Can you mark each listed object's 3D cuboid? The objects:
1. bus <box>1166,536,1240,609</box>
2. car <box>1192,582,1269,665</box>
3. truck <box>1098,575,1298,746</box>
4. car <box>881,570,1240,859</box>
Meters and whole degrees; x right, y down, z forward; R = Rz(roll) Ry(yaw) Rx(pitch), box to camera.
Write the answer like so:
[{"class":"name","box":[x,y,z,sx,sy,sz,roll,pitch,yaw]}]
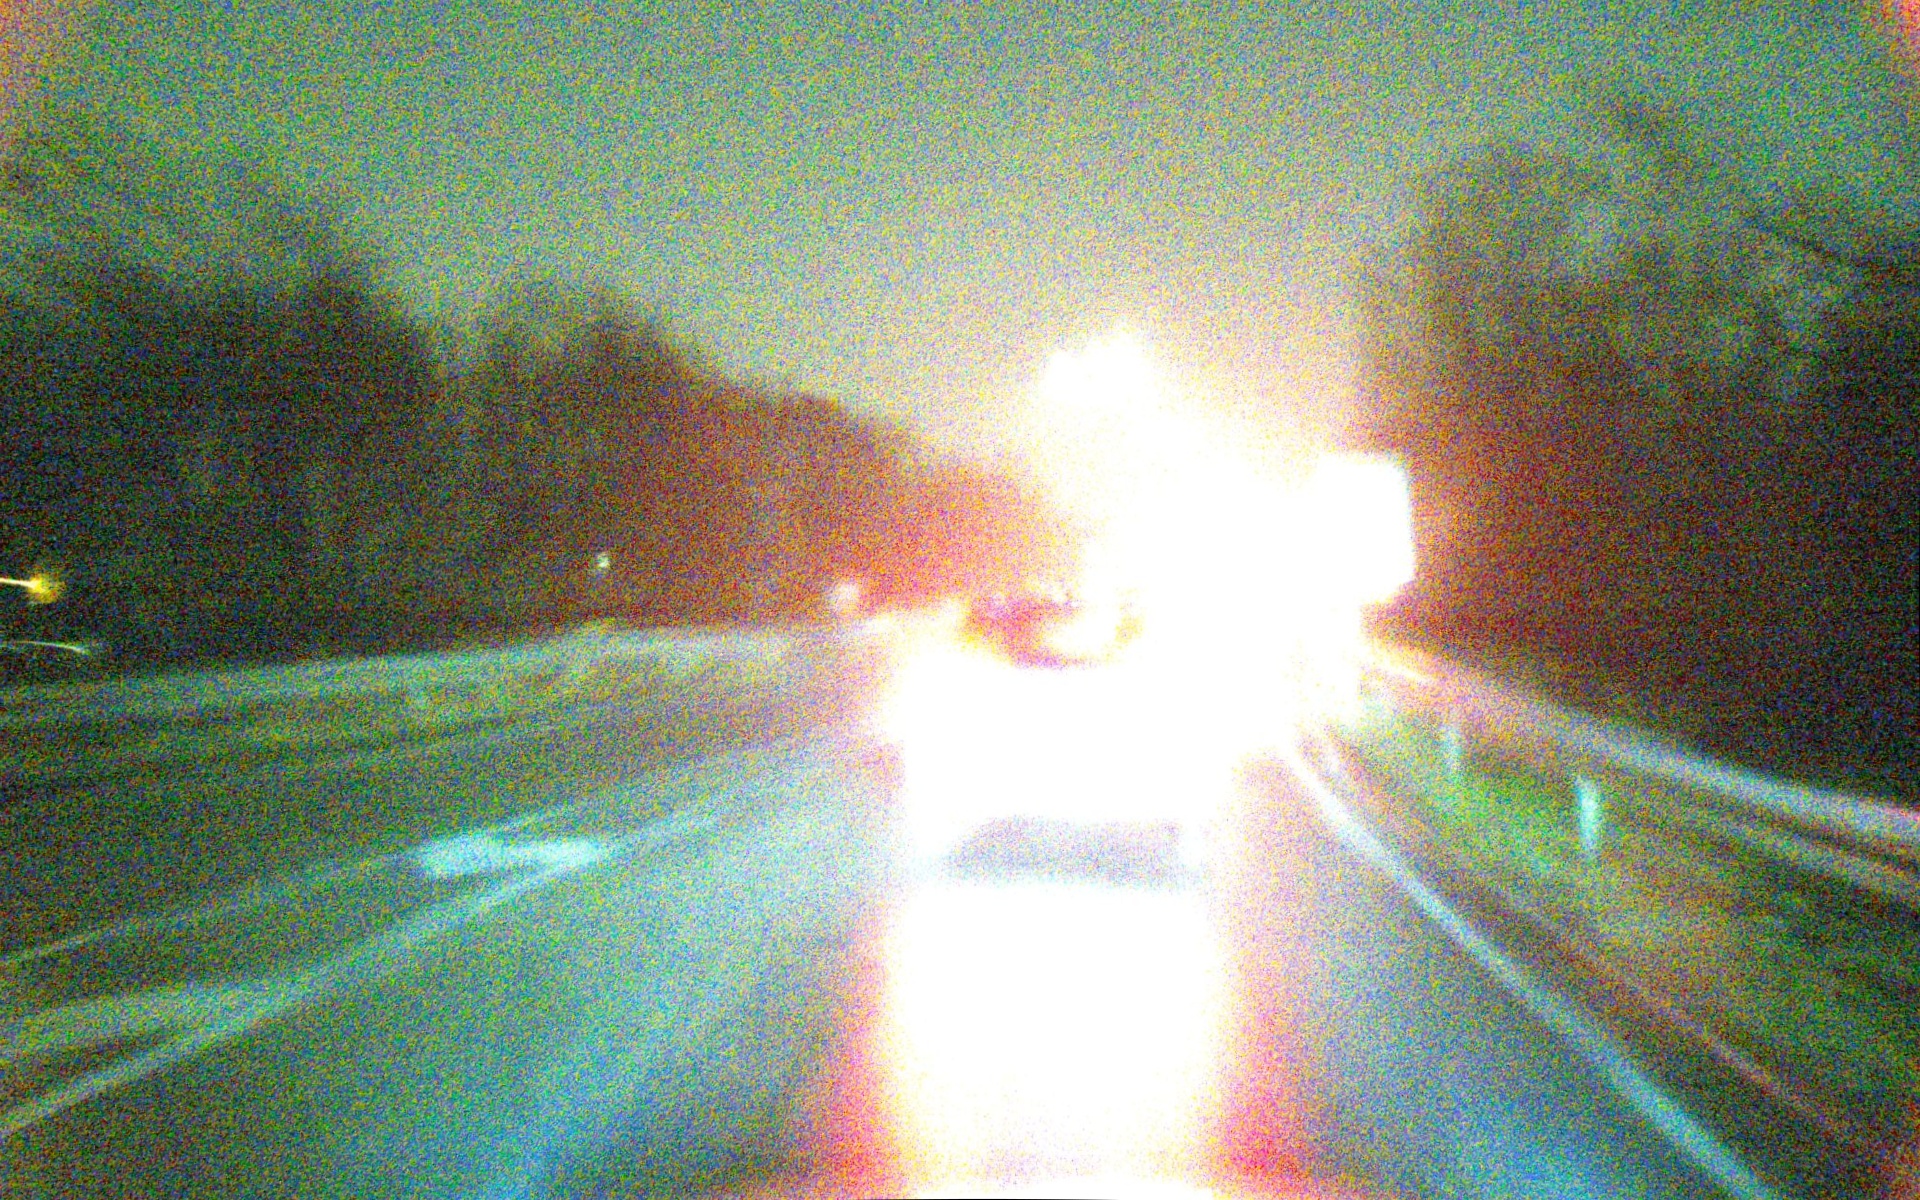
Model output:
[{"class":"bus","box":[11.447,-1.312,77.342,2.685,3.178,9.210,1,1,13]},{"class":"car","box":[6.798,0.573,41.870,1.797,1.982,4.003,1,0,8]},{"class":"truck","box":[4.373,0.947,29.031,3.004,2.573,7.172,1,0,12]},{"class":"car","box":[0.760,0.603,10.671,1.903,1.517,3.719,-1,0,7]}]
